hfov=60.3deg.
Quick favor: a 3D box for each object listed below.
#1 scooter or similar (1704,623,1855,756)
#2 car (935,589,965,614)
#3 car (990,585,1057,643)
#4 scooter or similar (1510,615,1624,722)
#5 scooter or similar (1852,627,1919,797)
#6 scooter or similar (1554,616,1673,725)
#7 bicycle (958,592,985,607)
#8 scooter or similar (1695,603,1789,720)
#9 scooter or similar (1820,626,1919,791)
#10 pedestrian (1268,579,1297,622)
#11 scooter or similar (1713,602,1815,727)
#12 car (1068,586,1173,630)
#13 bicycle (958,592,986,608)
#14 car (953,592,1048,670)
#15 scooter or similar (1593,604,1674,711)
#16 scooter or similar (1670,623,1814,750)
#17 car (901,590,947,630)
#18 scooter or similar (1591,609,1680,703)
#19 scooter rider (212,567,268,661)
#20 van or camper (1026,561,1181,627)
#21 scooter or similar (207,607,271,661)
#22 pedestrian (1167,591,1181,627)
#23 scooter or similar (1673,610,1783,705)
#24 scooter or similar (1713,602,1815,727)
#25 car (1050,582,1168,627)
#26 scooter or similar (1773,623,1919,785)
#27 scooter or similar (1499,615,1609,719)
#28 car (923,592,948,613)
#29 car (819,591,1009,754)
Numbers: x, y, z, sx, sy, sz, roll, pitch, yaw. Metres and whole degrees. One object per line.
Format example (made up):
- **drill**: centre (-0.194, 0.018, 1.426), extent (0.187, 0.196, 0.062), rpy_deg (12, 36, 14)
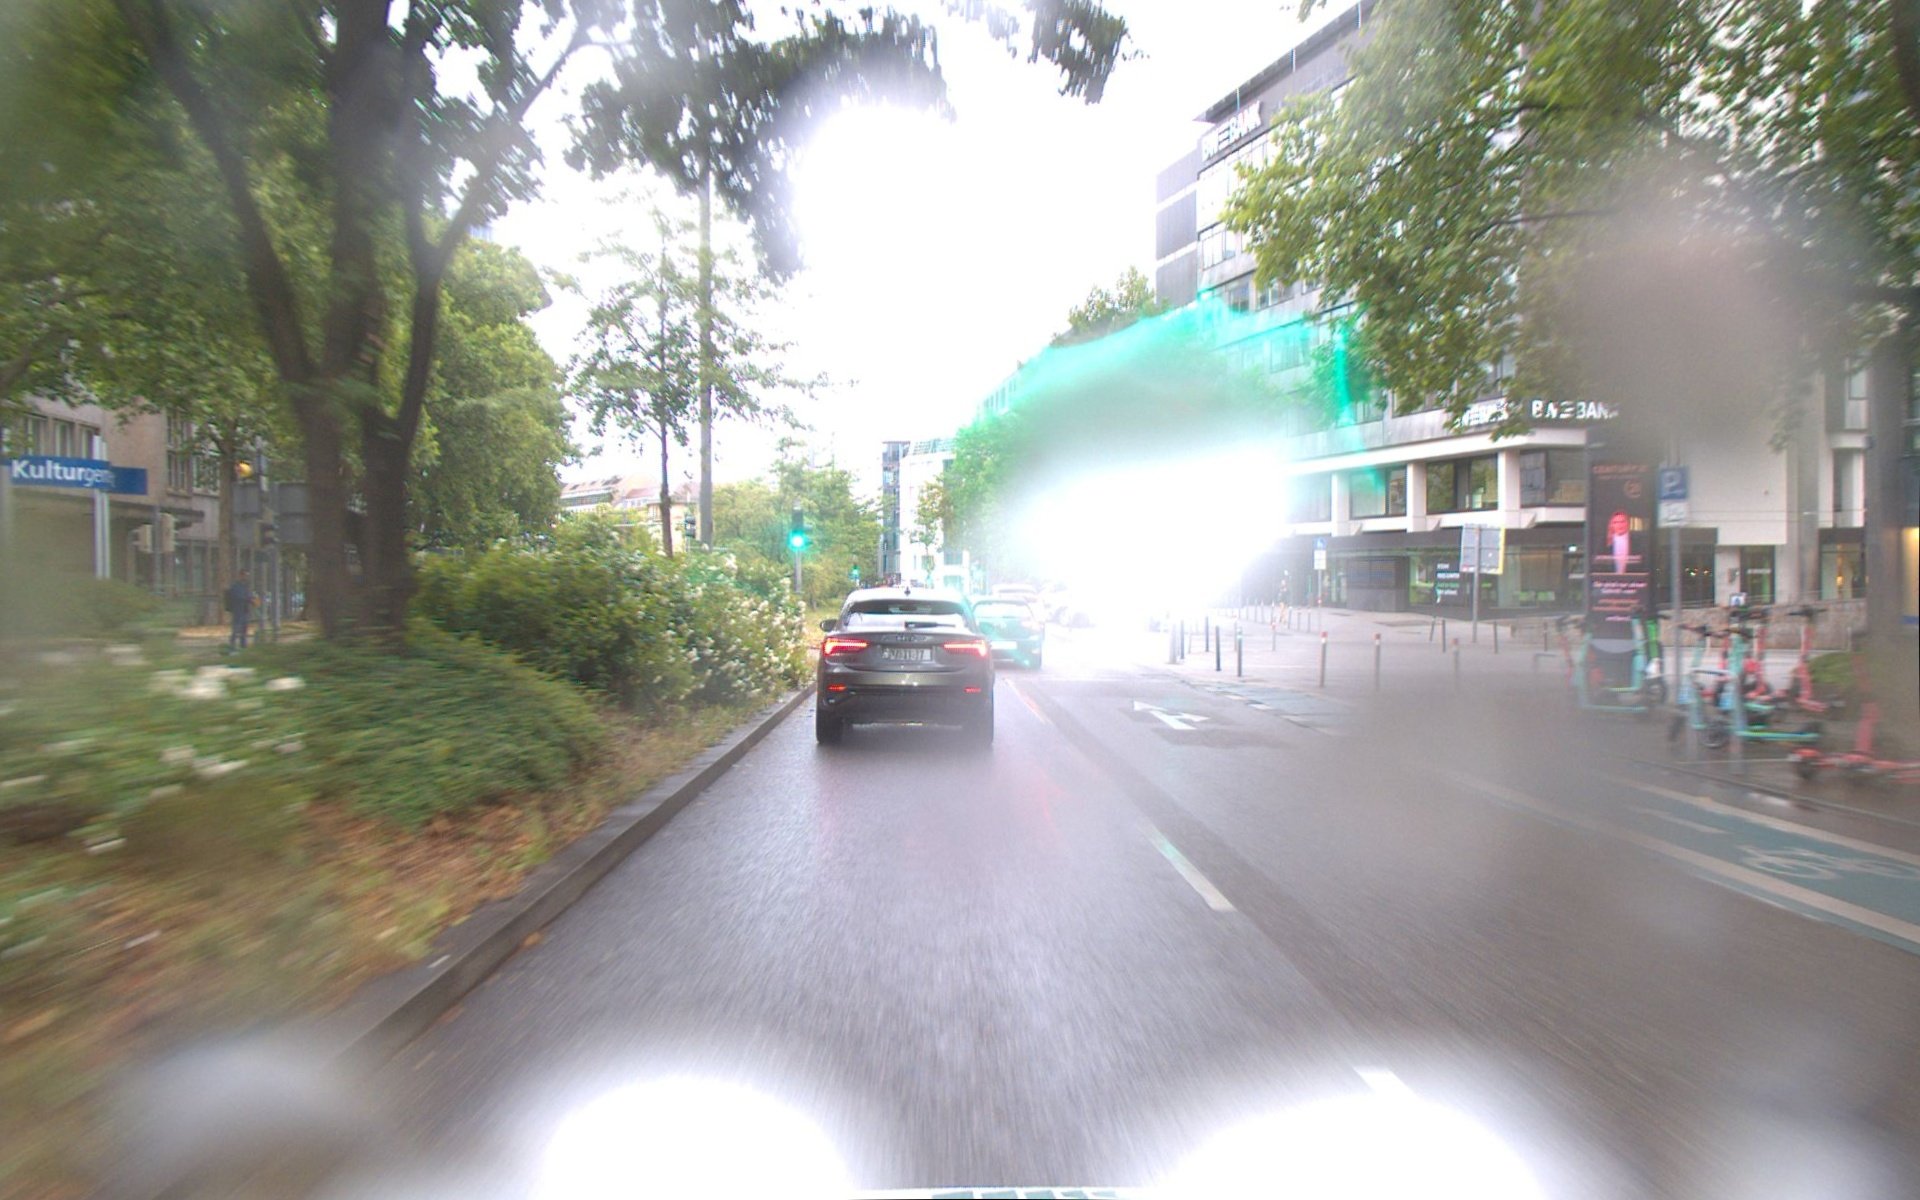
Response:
- **scooter or similar**: centre (8.158, 0.886, 16.488), extent (1.263, 1.257, 0.489), rpy_deg (-1, 2, 1)
- **car**: centre (-0.656, 0.082, 105.910), extent (1.812, 1.550, 4.037), rpy_deg (0, 0, -1)
- **car**: centre (1.900, 0.394, 50.801), extent (1.812, 1.698, 4.037), rpy_deg (0, 0, -1)
- **scooter or similar**: centre (7.572, 0.853, 20.672), extent (1.262, 1.282, 0.490), rpy_deg (-1, 2, 10)
- **scooter or similar**: centre (7.905, 0.875, 13.215), extent (1.262, 1.300, 0.537), rpy_deg (-1, 2, 2)
- **scooter or similar**: centre (7.951, 0.854, 20.149), extent (1.262, 1.282, 0.490), rpy_deg (-1, 2, 10)
- **bicycle**: centre (1.016, -0.015, 145.706), extent (2.294, 1.335, 0.708), rpy_deg (0, 0, -9)
- **scooter or similar**: centre (9.256, 0.710, 19.608), extent (0.478, 1.282, 1.293), rpy_deg (-1, 2, -1)
- **scooter or similar**: centre (7.879, 0.879, 13.659), extent (1.262, 1.300, 0.537), rpy_deg (-1, 2, 2)
- **pedestrian**: centre (12.936, 0.023, 66.336), extent (0.790, 1.726, 1.185), rpy_deg (1, 0, -7)
- **scooter or similar**: centre (8.912, 0.694, 18.368), extent (0.478, 1.282, 1.293), rpy_deg (-1, 2, -1)
- **car**: centre (5.964, 0.272, 61.325), extent (3.572, 1.574, 1.716), rpy_deg (1, 0, 18)
- **bicycle**: centre (1.039, 0.001, 143.665), extent (2.294, 1.335, 0.708), rpy_deg (0, 0, -9)
- **car**: centre (0.799, 0.609, 34.900), extent (1.812, 1.550, 4.037), rpy_deg (0, 0, -1)
- **scooter or similar**: centre (8.657, 0.716, 21.297), extent (0.478, 1.282, 1.293), rpy_deg (-1, 2, -1)
- **scooter or similar**: centre (8.140, 0.893, 17.232), extent (1.263, 1.257, 0.489), rpy_deg (-1, 2, 1)
- **car**: centre (-1.479, 0.393, 67.845), extent (1.812, 1.550, 4.037), rpy_deg (0, 0, -1)
- **scooter or similar**: centre (9.034, 0.730, 22.163), extent (0.479, 1.219, 1.290), rpy_deg (0, -1, -11)
- **scooter rider**: centre (-15.305, 0.299, 35.186), extent (0.882, 1.974, 0.756), rpy_deg (0, 0, -5)
- **van or camper**: centre (5.834, -0.251, 67.296), extent (5.946, 2.603, 2.103), rpy_deg (0, 0, 26)
- **scooter or similar**: centre (-15.310, 0.714, 35.126), extent (1.159, 1.133, 0.434), rpy_deg (0, 0, -5)
- **pedestrian**: centre (11.034, 0.454, 85.318), extent (0.542, 1.837, 0.761), rpy_deg (1, -1, -5)
- **scooter or similar**: centre (10.186, 0.745, 21.969), extent (0.483, 1.219, 1.279), rpy_deg (1, -1, -32)
- **scooter or similar**: centre (8.912, 0.694, 18.368), extent (0.478, 1.282, 1.293), rpy_deg (-1, 2, -1)
- **car**: centre (5.752, 0.158, 64.006), extent (4.172, 1.696, 1.817), rpy_deg (1, 0, 25)
- **scooter or similar**: centre (7.791, 0.884, 14.341), extent (1.267, 1.300, 0.535), rpy_deg (-2, 2, -12)
- **scooter or similar**: centre (7.633, 0.859, 21.285), extent (1.262, 1.282, 0.490), rpy_deg (-1, 2, 10)
- **car**: centre (-1.789, 0.182, 121.345), extent (1.812, 1.550, 4.037), rpy_deg (0, 0, -1)
- **car**: centre (-0.509, 0.692, 17.905), extent (1.812, 1.550, 4.037), rpy_deg (0, 0, -2)
